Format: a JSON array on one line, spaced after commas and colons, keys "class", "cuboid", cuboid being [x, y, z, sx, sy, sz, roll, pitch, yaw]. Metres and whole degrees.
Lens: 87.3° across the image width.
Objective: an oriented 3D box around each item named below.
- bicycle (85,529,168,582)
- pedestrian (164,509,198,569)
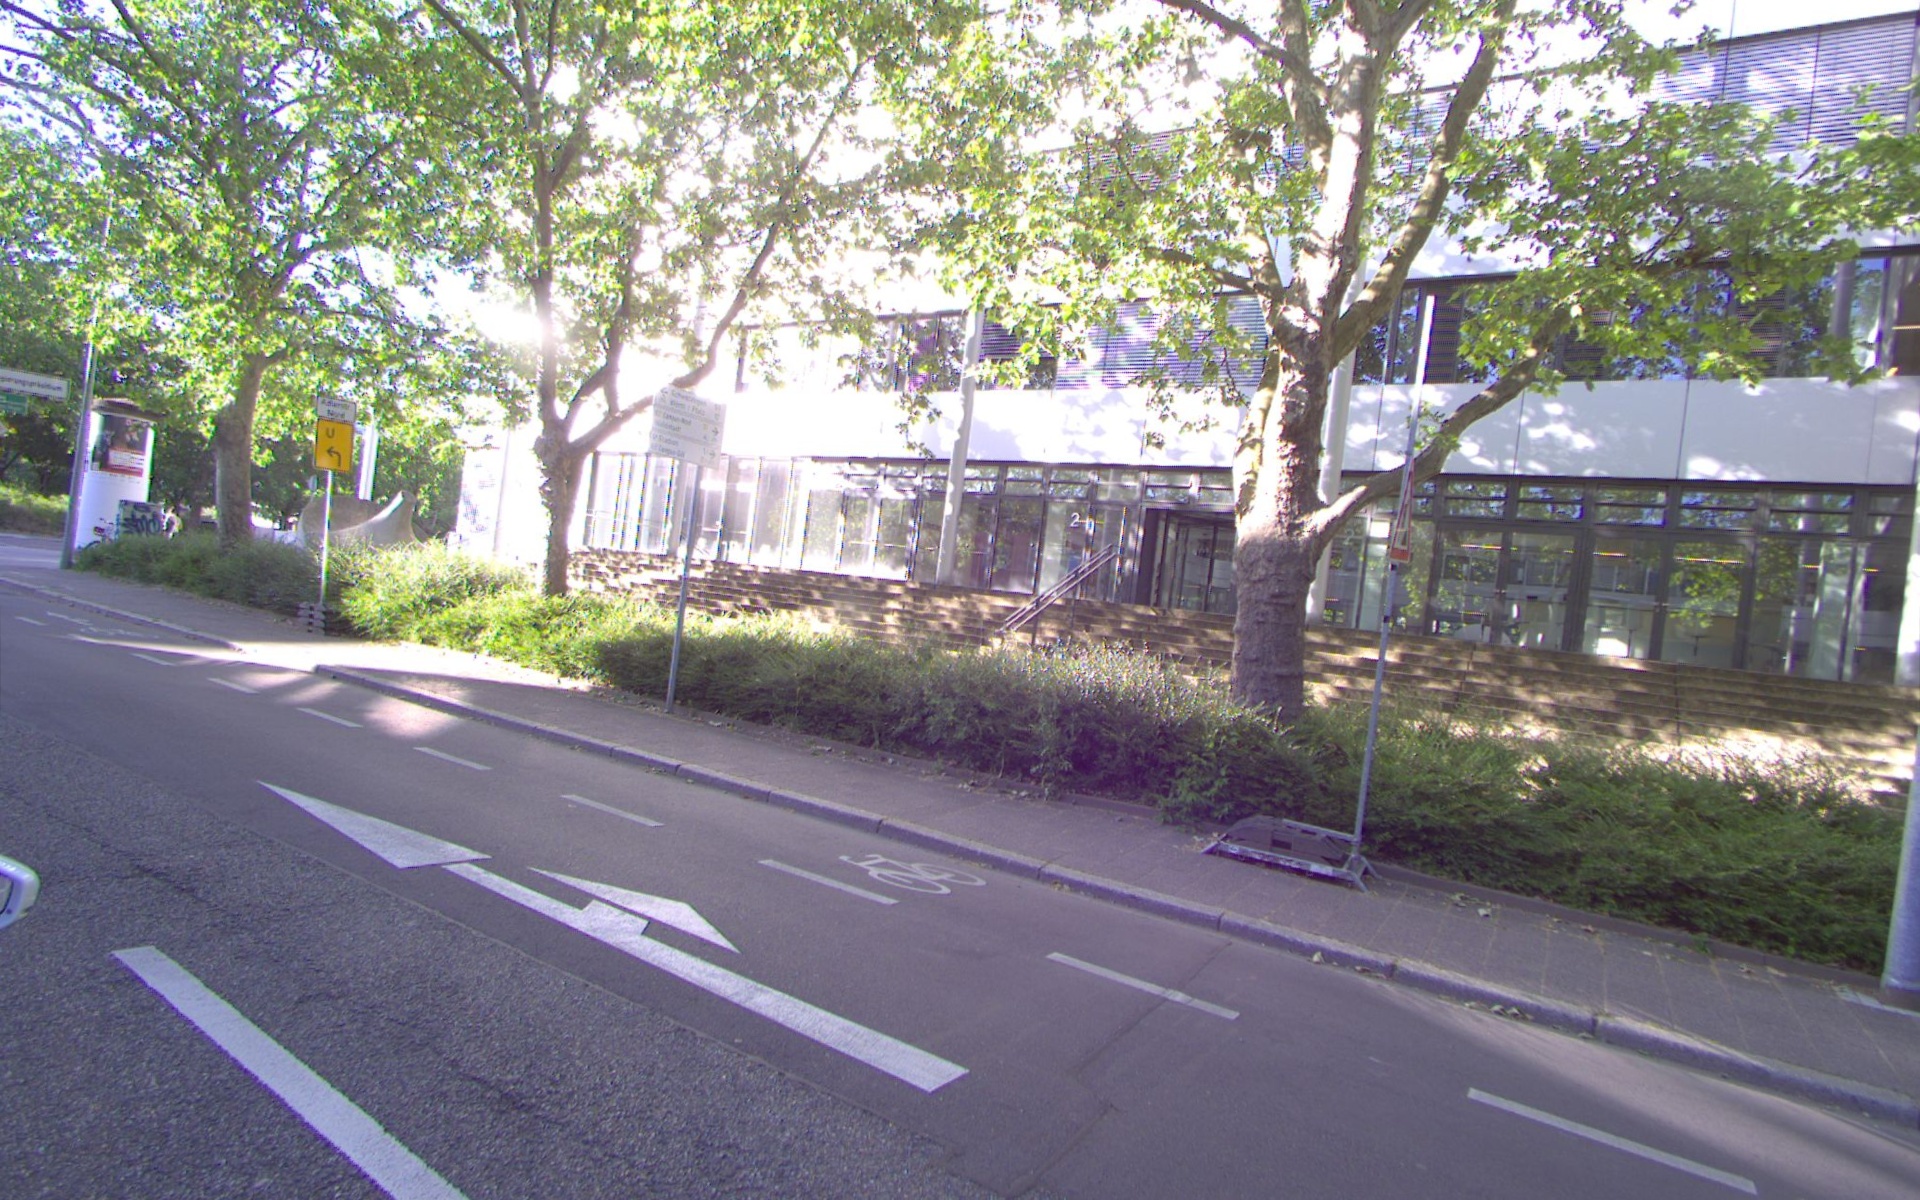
[{"class": "bicycle", "cuboid": [-19.236, -1.017, 23.235, 0.357, 1.036, 1.354, 7, -1, 33]}, {"class": "pedestrian", "cuboid": [-25.745, -2.022, 33.250, 0.584, 1.871, 0.552, 7, 0, 33]}]
